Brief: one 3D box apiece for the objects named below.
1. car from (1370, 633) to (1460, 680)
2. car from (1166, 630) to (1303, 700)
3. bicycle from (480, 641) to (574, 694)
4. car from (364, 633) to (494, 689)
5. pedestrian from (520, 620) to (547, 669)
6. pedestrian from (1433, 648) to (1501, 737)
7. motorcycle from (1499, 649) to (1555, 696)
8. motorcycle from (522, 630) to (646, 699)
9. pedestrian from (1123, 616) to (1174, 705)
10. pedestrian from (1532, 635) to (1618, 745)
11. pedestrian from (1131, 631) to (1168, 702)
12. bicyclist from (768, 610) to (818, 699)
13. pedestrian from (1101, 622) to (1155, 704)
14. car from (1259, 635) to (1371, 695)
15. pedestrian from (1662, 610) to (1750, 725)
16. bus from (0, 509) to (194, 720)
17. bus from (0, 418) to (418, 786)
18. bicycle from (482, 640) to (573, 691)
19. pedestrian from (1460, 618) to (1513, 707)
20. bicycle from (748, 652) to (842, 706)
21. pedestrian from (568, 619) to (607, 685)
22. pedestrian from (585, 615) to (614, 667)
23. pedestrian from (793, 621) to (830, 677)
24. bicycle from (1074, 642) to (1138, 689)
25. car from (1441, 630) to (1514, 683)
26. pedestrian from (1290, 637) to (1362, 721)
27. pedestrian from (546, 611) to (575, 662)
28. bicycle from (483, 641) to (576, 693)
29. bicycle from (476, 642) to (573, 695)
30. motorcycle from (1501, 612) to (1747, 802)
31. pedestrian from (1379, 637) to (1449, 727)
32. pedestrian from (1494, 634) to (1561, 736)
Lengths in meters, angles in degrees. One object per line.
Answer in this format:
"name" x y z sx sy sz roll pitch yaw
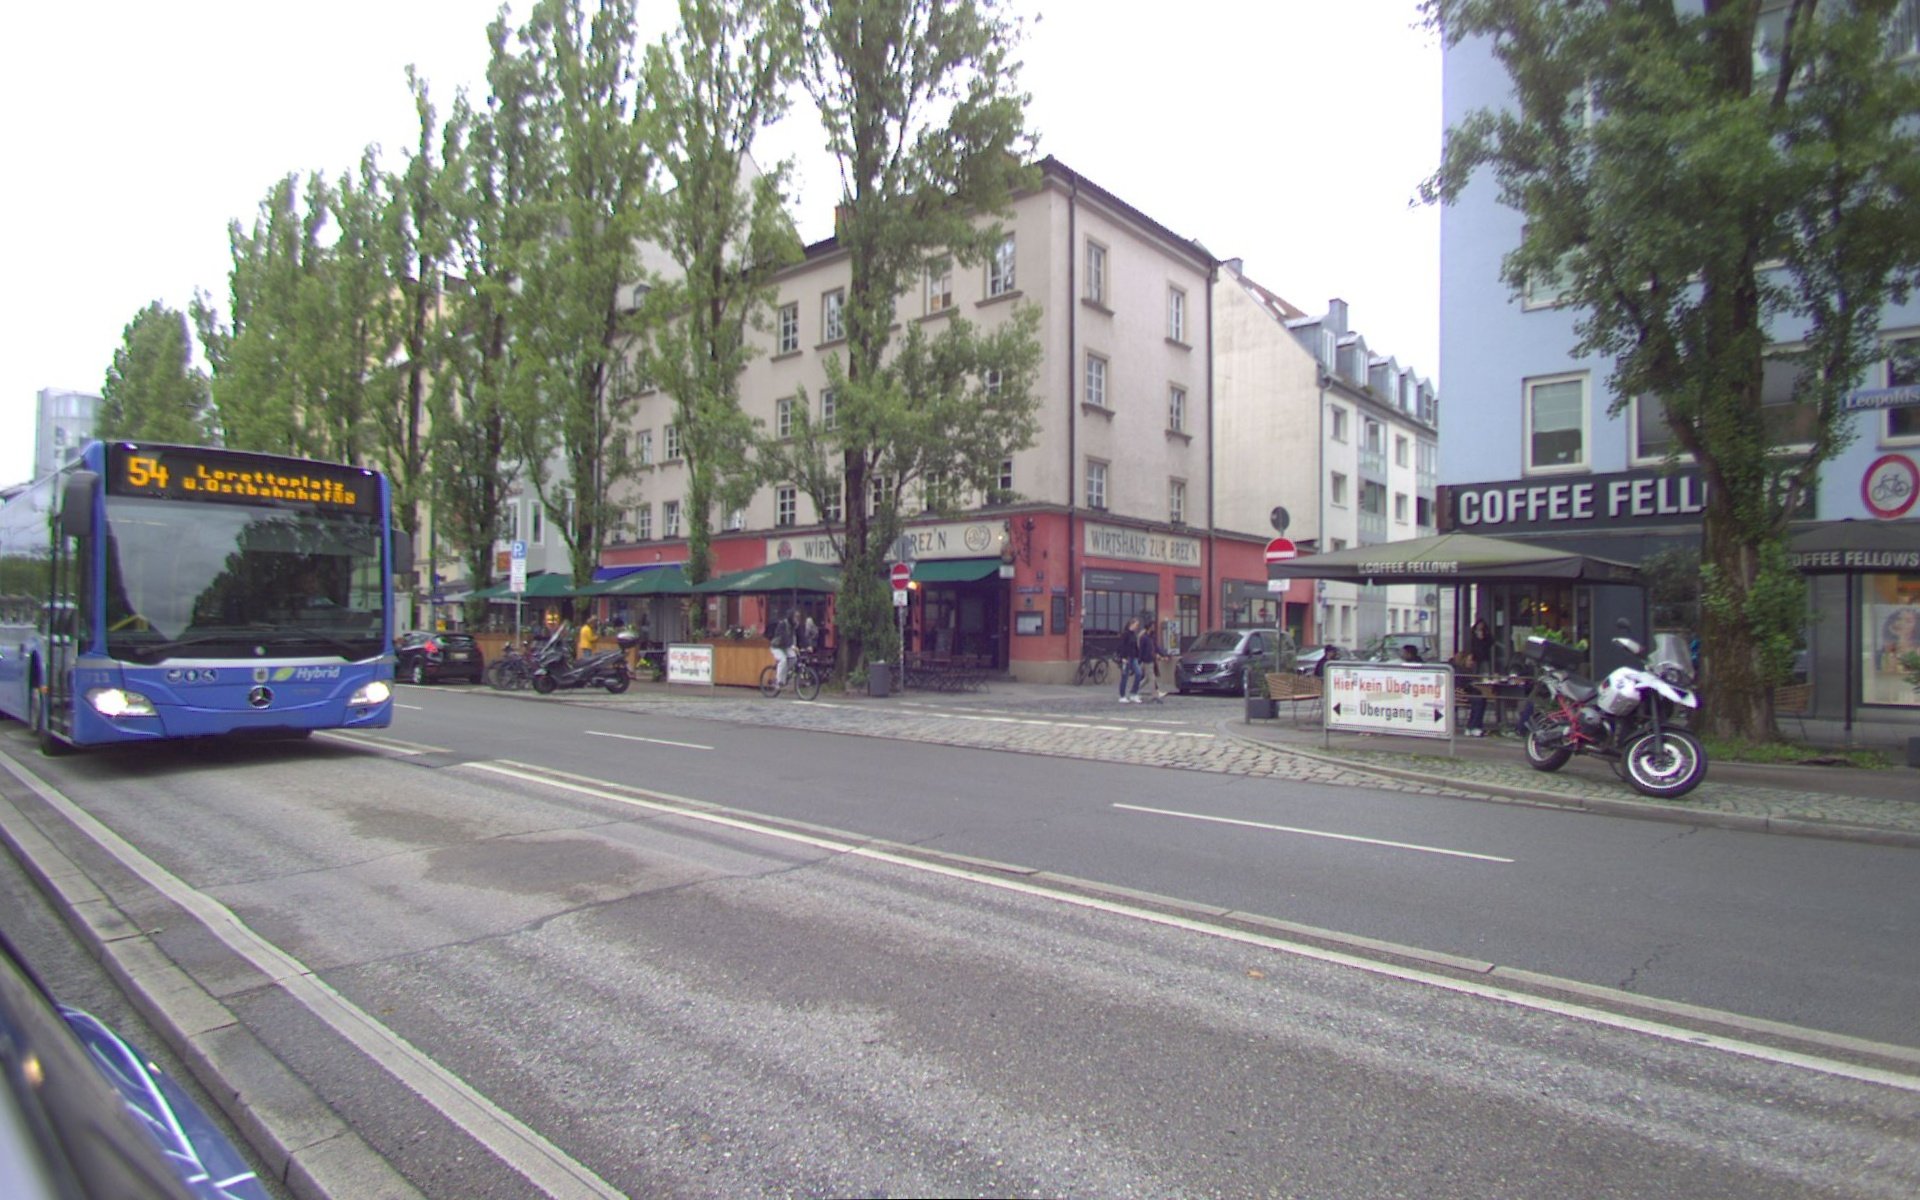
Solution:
"car" 18.147 2.242 40.269 2.116 1.780 4.525 -1 -4 40
"car" 7.746 1.795 28.274 1.982 1.780 4.525 -1 -4 40
"bicycle" -9.842 1.534 23.033 1.949 1.134 0.283 -1 0 -12
"car" -14.567 1.633 27.720 3.780 1.433 1.739 -1 -3 38
"pedestrian" -17.162 1.766 40.728 0.905 1.941 0.690 -2 -3 44
"pedestrian" 7.188 1.284 14.338 0.699 1.192 0.807 -1 -3 39
"motorcycle" 15.710 1.982 28.025 0.738 1.213 2.729 -4 -4 42
"motorcycle" -8.086 1.375 21.773 2.426 1.425 0.744 0 -2 8
"pedestrian" 4.230 1.344 22.766 0.905 1.941 0.690 -2 -3 44
"pedestrian" 8.054 1.145 13.255 0.847 1.373 0.690 -1 -3 40
"pedestrian" 4.485 1.565 23.899 0.727 1.636 0.694 -1 -2 23
"bicyclist" -3.301 1.059 20.014 0.816 1.718 0.598 -1 -2 42
"pedestrian" 3.652 1.351 21.994 0.950 1.735 0.690 -2 -3 44
"car" 11.566 2.080 32.789 1.982 1.780 4.525 -1 -4 40
"pedestrian" 11.169 0.991 15.157 0.951 1.659 0.690 -2 -3 44
"bus" -16.771 0.311 18.260 10.046 2.972 2.655 -1 -2 41
"bus" -10.136 0.126 12.494 10.046 2.972 2.661 -1 -2 41
"bicycle" -10.230 1.551 23.994 1.949 1.134 0.343 -1 0 -12
"pedestrian" 10.890 1.276 20.949 0.692 1.786 0.947 0 -2 10
"bicycle" -3.284 1.529 19.987 2.173 0.976 0.605 -1 -2 42
"pedestrian" -10.058 1.400 27.325 0.699 1.739 0.722 -2 -3 41
"pedestrian" -13.863 1.568 38.907 0.905 1.941 0.690 -2 -3 44
"pedestrian" -4.566 1.490 31.035 0.689 1.659 0.930 2 -3 -44
"bicycle" 4.036 1.777 27.774 0.645 1.214 2.317 -1 -3 39
"car" 24.378 2.655 47.563 1.982 2.384 4.523 -2 -4 42
"pedestrian" 6.218 1.325 17.220 0.950 1.373 0.690 -2 -3 44
"pedestrian" -15.363 1.407 38.880 0.905 1.941 0.690 -2 -3 44
"bicycle" -9.902 1.535 23.311 1.949 1.134 0.283 -1 0 -12
"bicycle" -9.747 1.526 22.705 1.949 1.134 0.362 -1 0 -12
"motorcycle" 6.165 0.911 9.614 0.704 1.575 2.348 0 -1 -2
"pedestrian" 7.208 1.279 16.075 0.819 1.373 0.690 -2 -3 44
"pedestrian" 8.002 1.174 14.278 0.699 1.373 0.706 -1 -3 39
